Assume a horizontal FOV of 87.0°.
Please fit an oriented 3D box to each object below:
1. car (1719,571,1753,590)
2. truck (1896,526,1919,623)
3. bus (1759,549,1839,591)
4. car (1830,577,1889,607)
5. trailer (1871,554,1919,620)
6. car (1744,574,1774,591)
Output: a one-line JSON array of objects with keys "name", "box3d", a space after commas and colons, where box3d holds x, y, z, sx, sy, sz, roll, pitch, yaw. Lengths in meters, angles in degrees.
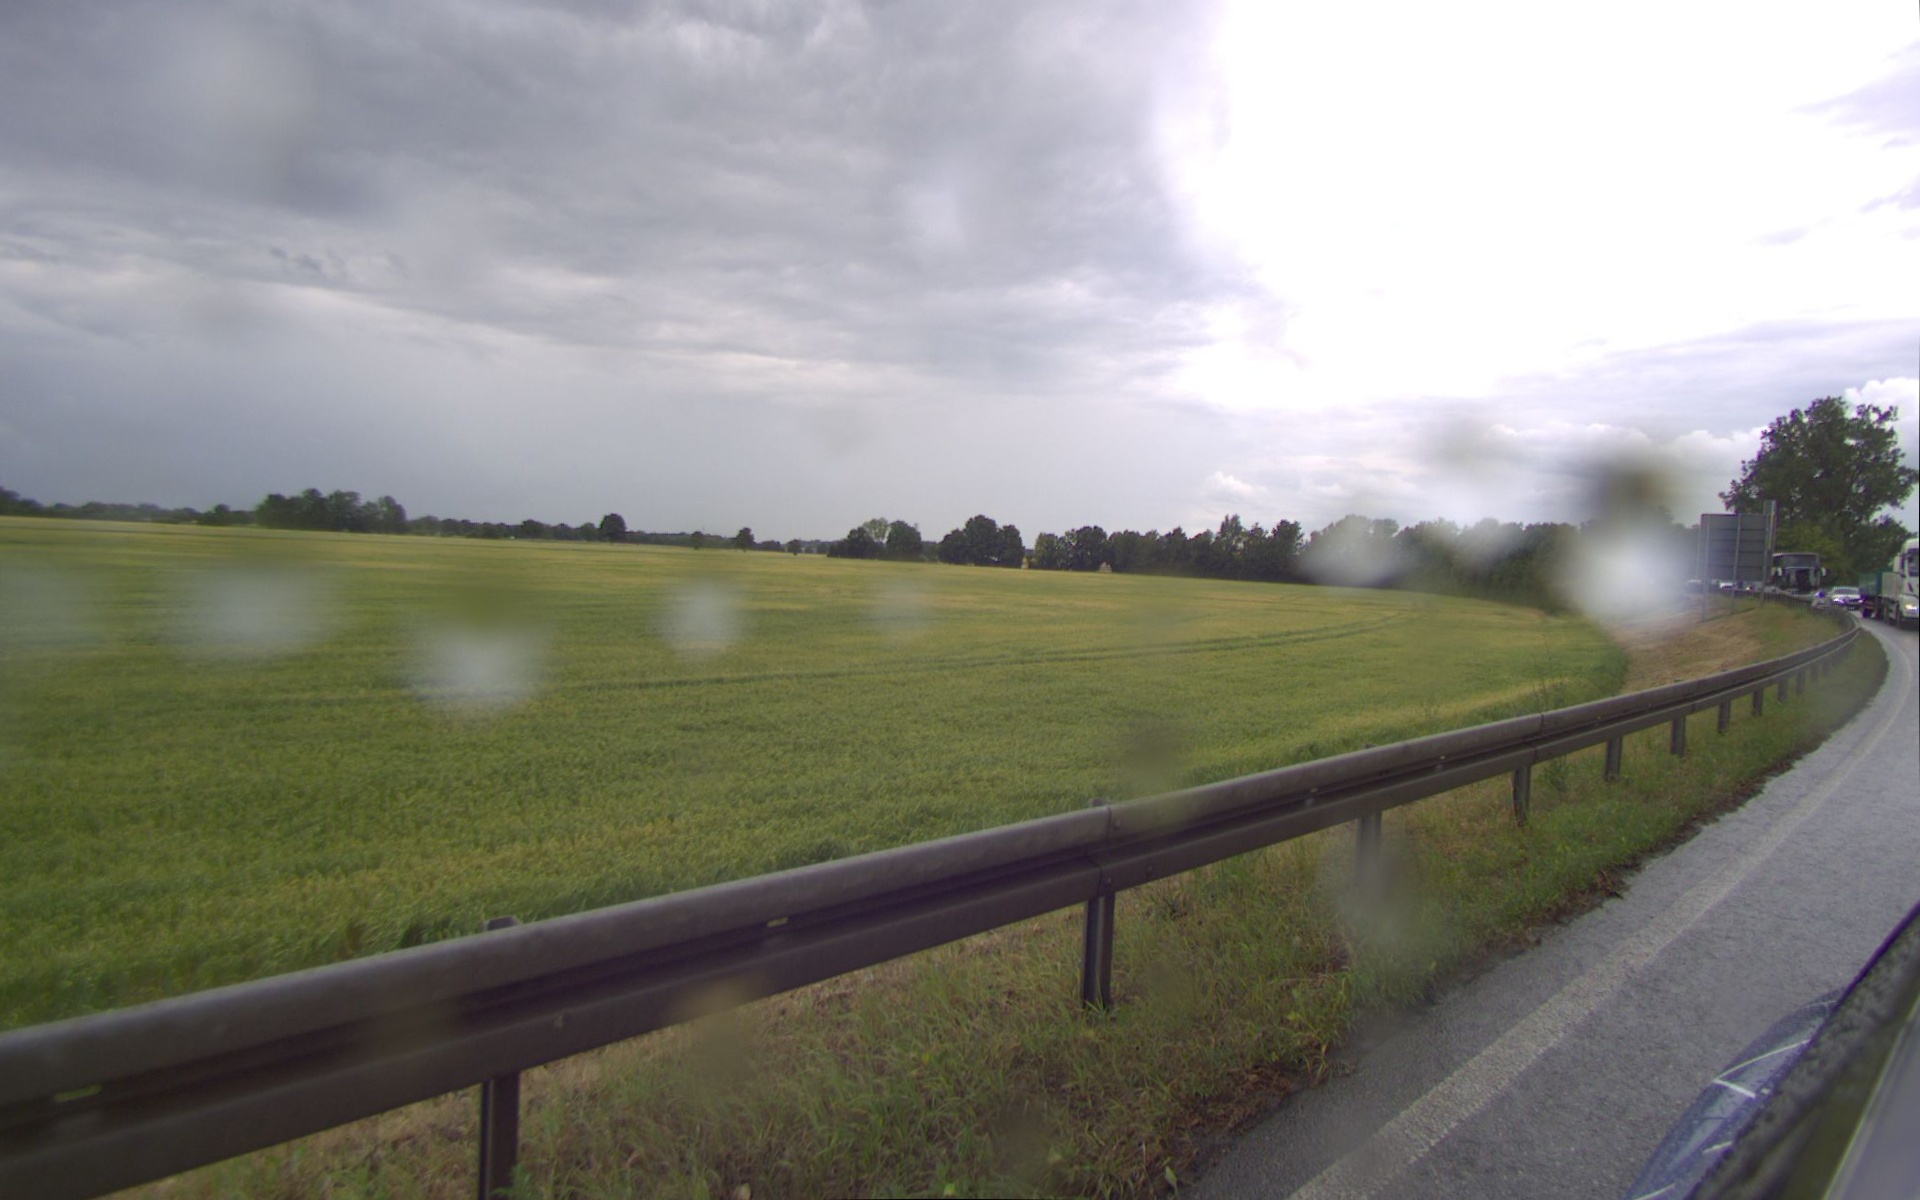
[{"name": "car", "box3d": [87.616, -2.179, 114.296, 1.980, 2.039, 5.287, 0, 1, 26]}, {"name": "truck", "box3d": [39.070, -0.992, 39.703, 2.970, 3.655, 5.996, 0, 0, 39]}, {"name": "bus", "box3d": [71.786, -2.566, 86.937, 2.941, 3.354, 14.679, 0, 1, 30]}, {"name": "car", "box3d": [57.396, -0.534, 64.657, 2.029, 1.866, 5.272, 0, 1, 33]}, {"name": "trailer", "box3d": [44.320, -0.597, 46.297, 2.970, 2.666, 15.463, 0, 1, 39]}, {"name": "car", "box3d": [80.825, -1.768, 102.428, 1.800, 1.597, 3.957, 0, 1, 30]}]
